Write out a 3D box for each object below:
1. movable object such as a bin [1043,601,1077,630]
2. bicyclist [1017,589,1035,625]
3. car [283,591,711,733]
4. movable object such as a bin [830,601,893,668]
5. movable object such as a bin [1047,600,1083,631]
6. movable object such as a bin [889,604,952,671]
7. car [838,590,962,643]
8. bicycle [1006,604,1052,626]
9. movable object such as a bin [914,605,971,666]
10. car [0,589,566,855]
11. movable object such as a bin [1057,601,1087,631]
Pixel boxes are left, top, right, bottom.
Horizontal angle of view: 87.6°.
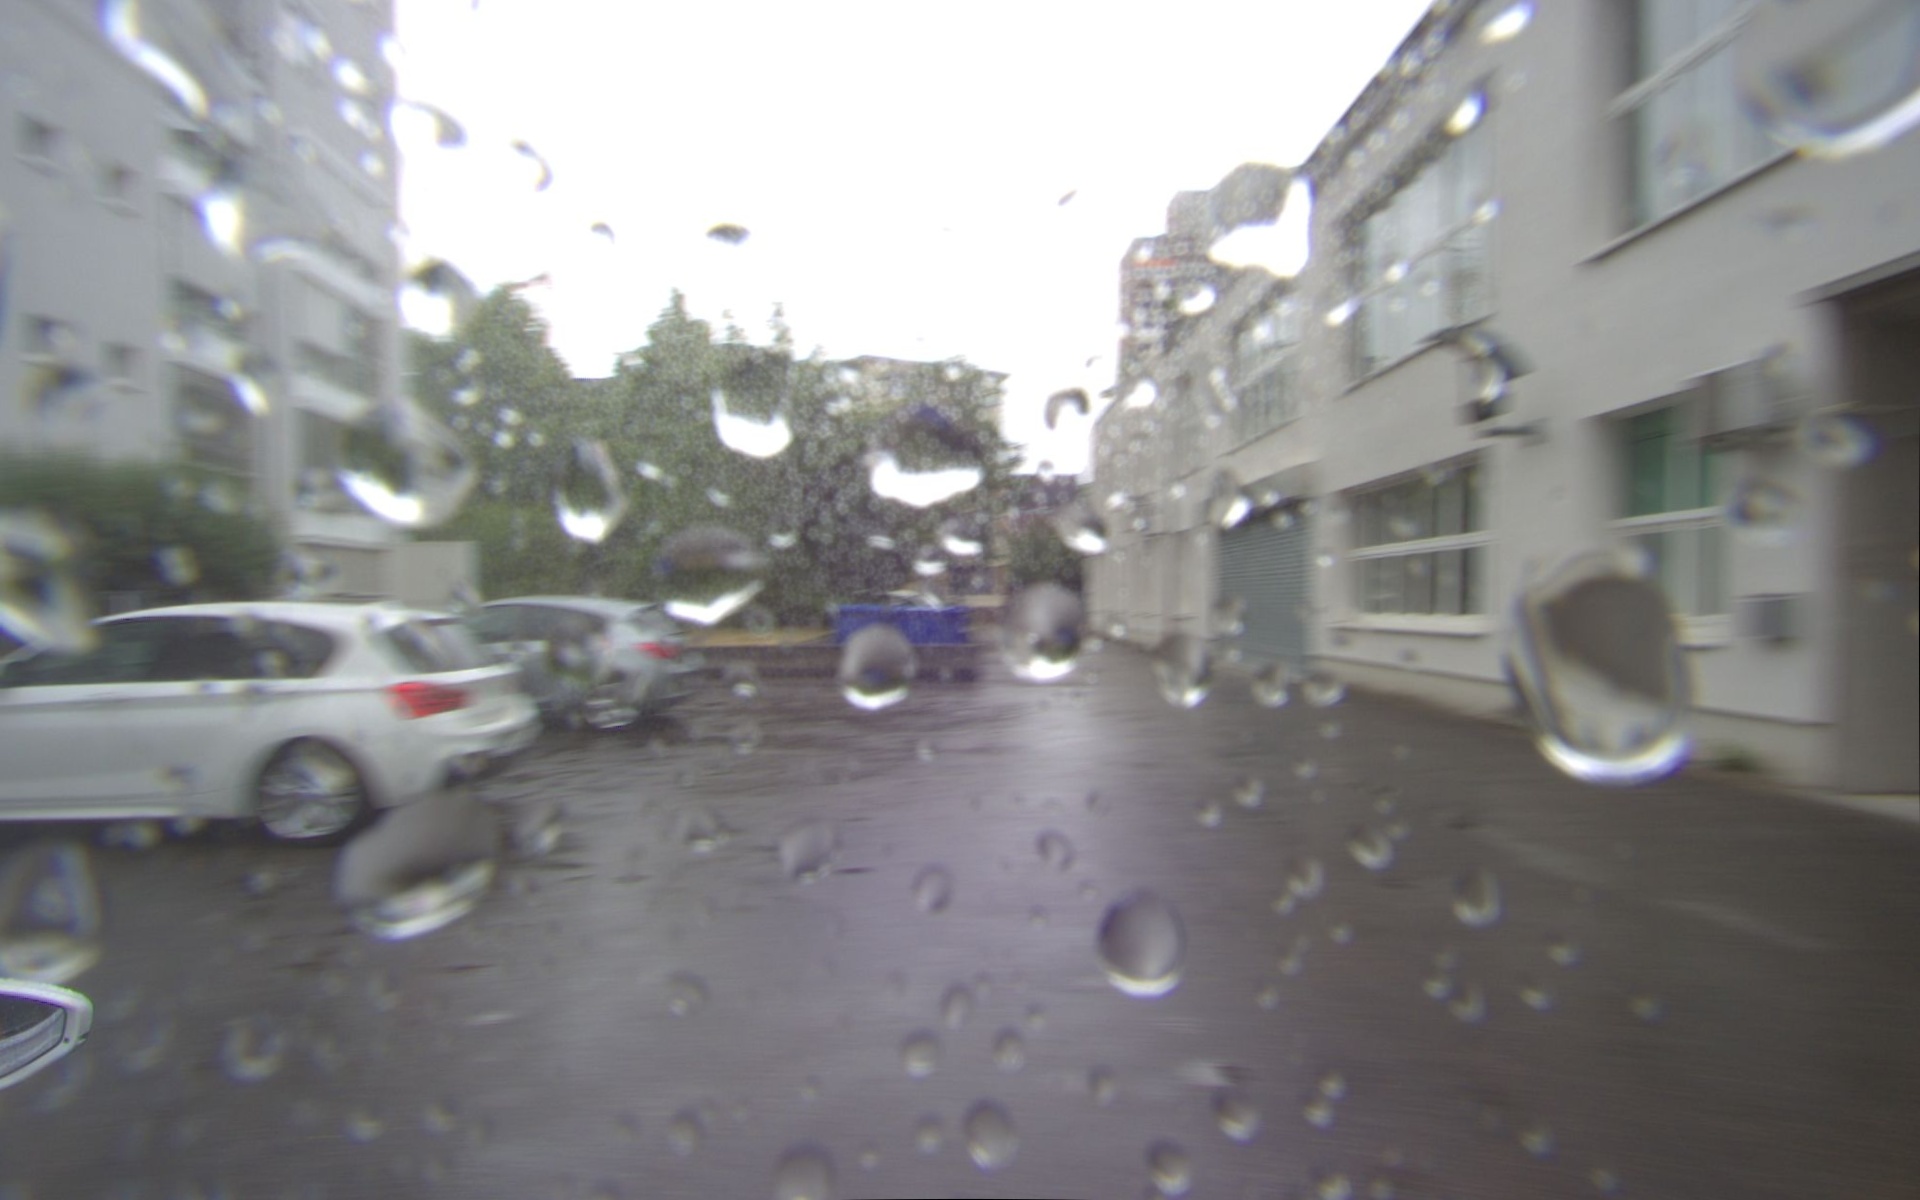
[{"bbox_3d":[5.080,0.795,50.991,1.464,1.467,1.314,-1,-1,-6],"label":"movable object such as a bin"},{"bbox_3d":[3.765,0.375,57.058,0.699,2.041,0.742,0,2,-30],"label":"bicyclist"},{"bbox_3d":[-5.208,0.678,11.805,4.139,1.509,2.000,0,0,-5],"label":"car"},{"bbox_3d":[-2.133,0.756,21.952,1.209,1.375,1.971,-1,-2,-1],"label":"movable object such as a bin"},{"bbox_3d":[5.196,0.777,49.646,1.464,1.467,1.314,-1,-1,-6],"label":"movable object such as a bin"},{"bbox_3d":[-0.854,0.824,21.962,1.288,1.375,1.906,-1,-2,-1],"label":"movable object such as a bin"},{"bbox_3d":[-2.265,0.674,38.784,4.606,1.905,2.125,-1,-3,1],"label":"car"},{"bbox_3d":[3.935,0.862,57.170,2.700,1.202,0.733,-1,1,-30],"label":"bicycle"},{"bbox_3d":[-0.418,0.840,23.904,1.288,1.375,1.906,-1,-2,-1],"label":"movable object such as a bin"},{"bbox_3d":[-5.085,0.706,6.716,4.139,1.509,2.000,0,0,-5],"label":"car"},{"bbox_3d":[5.374,0.789,48.054,1.165,1.391,1.314,-1,-1,-6],"label":"movable object such as a bin"}]
